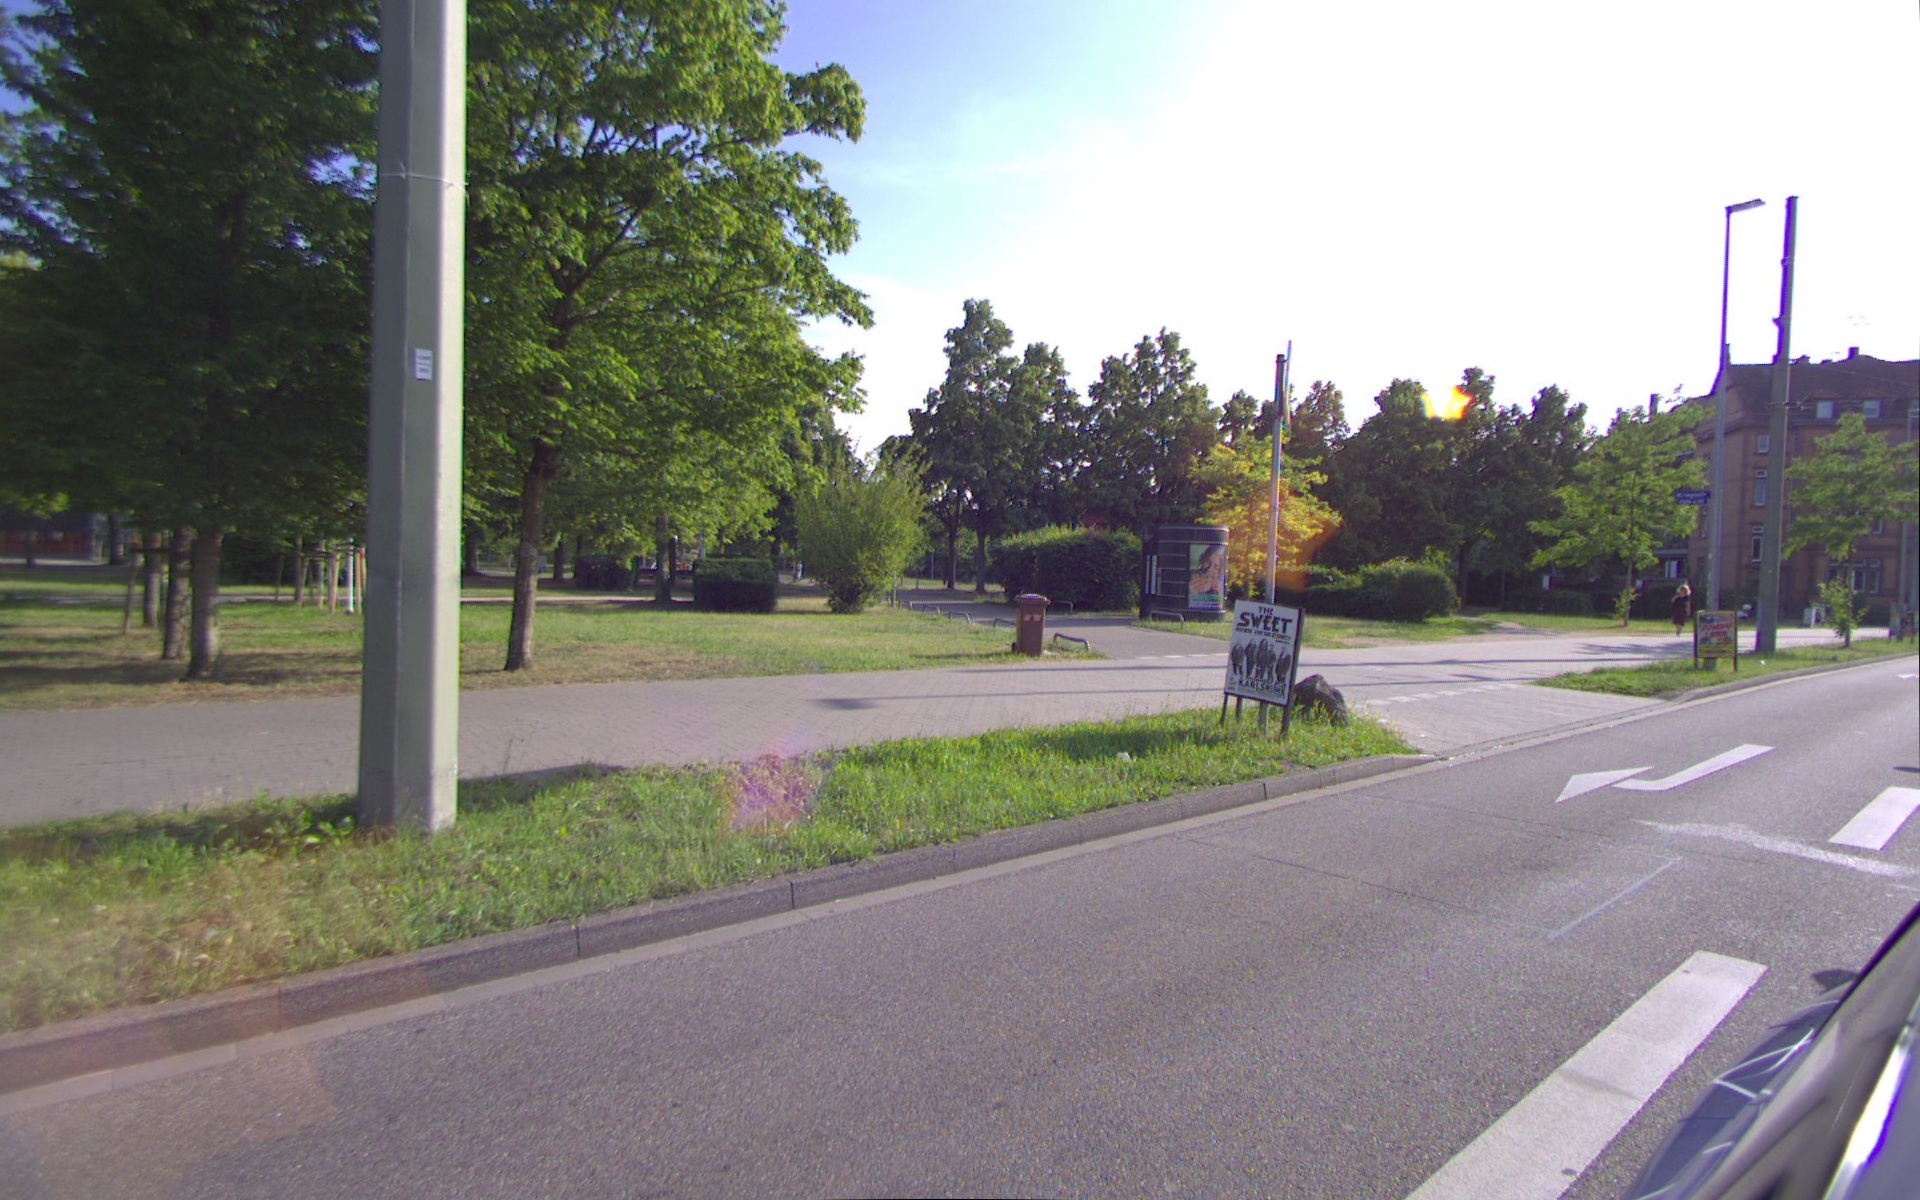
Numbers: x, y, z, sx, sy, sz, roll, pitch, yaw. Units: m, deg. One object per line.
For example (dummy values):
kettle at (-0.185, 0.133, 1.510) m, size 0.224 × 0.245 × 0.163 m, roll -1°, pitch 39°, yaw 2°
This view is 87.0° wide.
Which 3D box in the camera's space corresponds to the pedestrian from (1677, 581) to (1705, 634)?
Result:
pedestrian at (24.209, 0.241, 33.497) m, size 0.607 × 1.706 × 0.621 m, roll 1°, pitch 0°, yaw -40°

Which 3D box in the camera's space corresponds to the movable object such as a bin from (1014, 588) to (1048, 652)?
movable object such as a bin at (1.076, 0.296, 15.410) m, size 0.447 × 0.929 × 0.605 m, roll 2°, pitch 2°, yaw 1°
